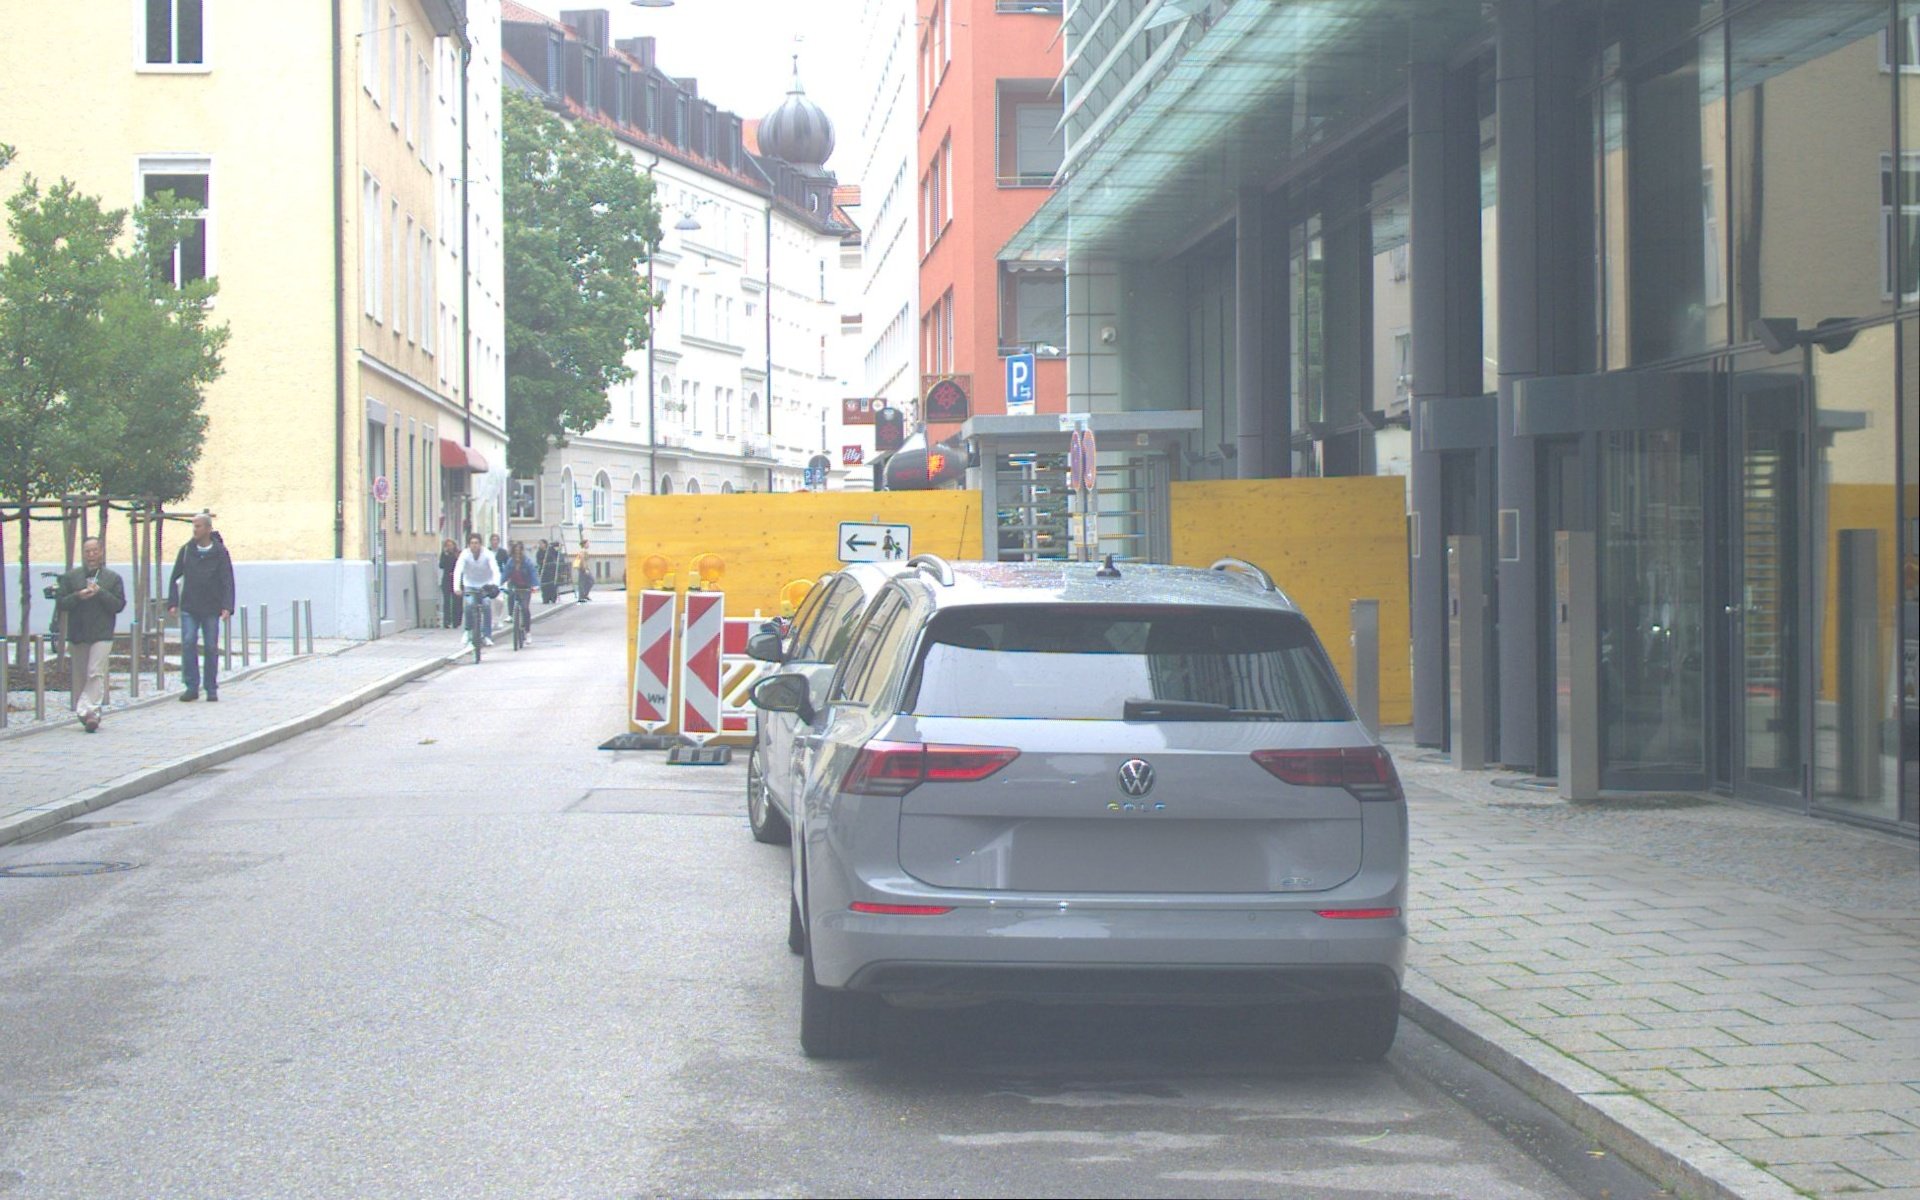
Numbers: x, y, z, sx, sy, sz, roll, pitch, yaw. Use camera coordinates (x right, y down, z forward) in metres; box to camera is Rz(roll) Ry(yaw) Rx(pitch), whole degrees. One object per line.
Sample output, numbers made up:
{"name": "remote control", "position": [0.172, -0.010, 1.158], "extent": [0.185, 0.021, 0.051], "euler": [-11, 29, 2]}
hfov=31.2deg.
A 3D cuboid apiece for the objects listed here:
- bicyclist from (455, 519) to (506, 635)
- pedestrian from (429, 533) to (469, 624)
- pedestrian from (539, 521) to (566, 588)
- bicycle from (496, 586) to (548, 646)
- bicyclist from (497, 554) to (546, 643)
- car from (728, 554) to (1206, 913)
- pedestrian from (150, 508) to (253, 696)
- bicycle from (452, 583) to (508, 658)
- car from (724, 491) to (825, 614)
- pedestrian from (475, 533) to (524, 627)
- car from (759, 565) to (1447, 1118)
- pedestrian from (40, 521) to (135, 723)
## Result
{"name": "bicyclist", "position": [-6.865, -0.332, 49.226], "extent": [0.659, 1.637, 0.895], "euler": [-1, 1, -4]}
{"name": "pedestrian", "position": [-9.361, -0.395, 62.984], "extent": [0.670, 1.642, 0.762], "euler": [1, 0, -5]}
{"name": "pedestrian", "position": [-10.311, -1.148, 87.027], "extent": [0.634, 1.669, 0.518], "euler": [1, 1, -4]}
{"name": "bicycle", "position": [-6.841, 0.239, 53.714], "extent": [0.707, 0.902, 1.810], "euler": [-1, 1, -4]}
{"name": "bicyclist", "position": [-6.845, -0.027, 53.742], "extent": [0.707, 1.366, 0.813], "euler": [-1, 1, -4]}
{"name": "car", "position": [-0.107, 0.542, 16.417], "extent": [1.707, 1.462, 4.238], "euler": [1, 0, -7]}
{"name": "pedestrian", "position": [-7.724, 0.016, 35.061], "extent": [0.867, 1.875, 1.135], "euler": [1, 0, -5]}
{"name": "bicycle", "position": [-6.875, 0.283, 49.312], "extent": [0.661, 1.035, 2.005], "euler": [-1, 1, -4]}
{"name": "car", "position": [-4.010, -1.017, 73.566], "extent": [1.993, 2.528, 4.976], "euler": [1, 1, -5]}
{"name": "pedestrian", "position": [-8.382, -0.364, 62.595], "extent": [0.839, 1.695, 0.803], "euler": [1, 0, -4]}
{"name": "car", "position": [0.253, 0.604, 11.134], "extent": [1.707, 1.427, 4.330], "euler": [0, 1, -5]}
{"name": "pedestrian", "position": [-7.319, 0.177, 28.868], "extent": [0.647, 1.671, 0.724], "euler": [1, 0, -5]}
